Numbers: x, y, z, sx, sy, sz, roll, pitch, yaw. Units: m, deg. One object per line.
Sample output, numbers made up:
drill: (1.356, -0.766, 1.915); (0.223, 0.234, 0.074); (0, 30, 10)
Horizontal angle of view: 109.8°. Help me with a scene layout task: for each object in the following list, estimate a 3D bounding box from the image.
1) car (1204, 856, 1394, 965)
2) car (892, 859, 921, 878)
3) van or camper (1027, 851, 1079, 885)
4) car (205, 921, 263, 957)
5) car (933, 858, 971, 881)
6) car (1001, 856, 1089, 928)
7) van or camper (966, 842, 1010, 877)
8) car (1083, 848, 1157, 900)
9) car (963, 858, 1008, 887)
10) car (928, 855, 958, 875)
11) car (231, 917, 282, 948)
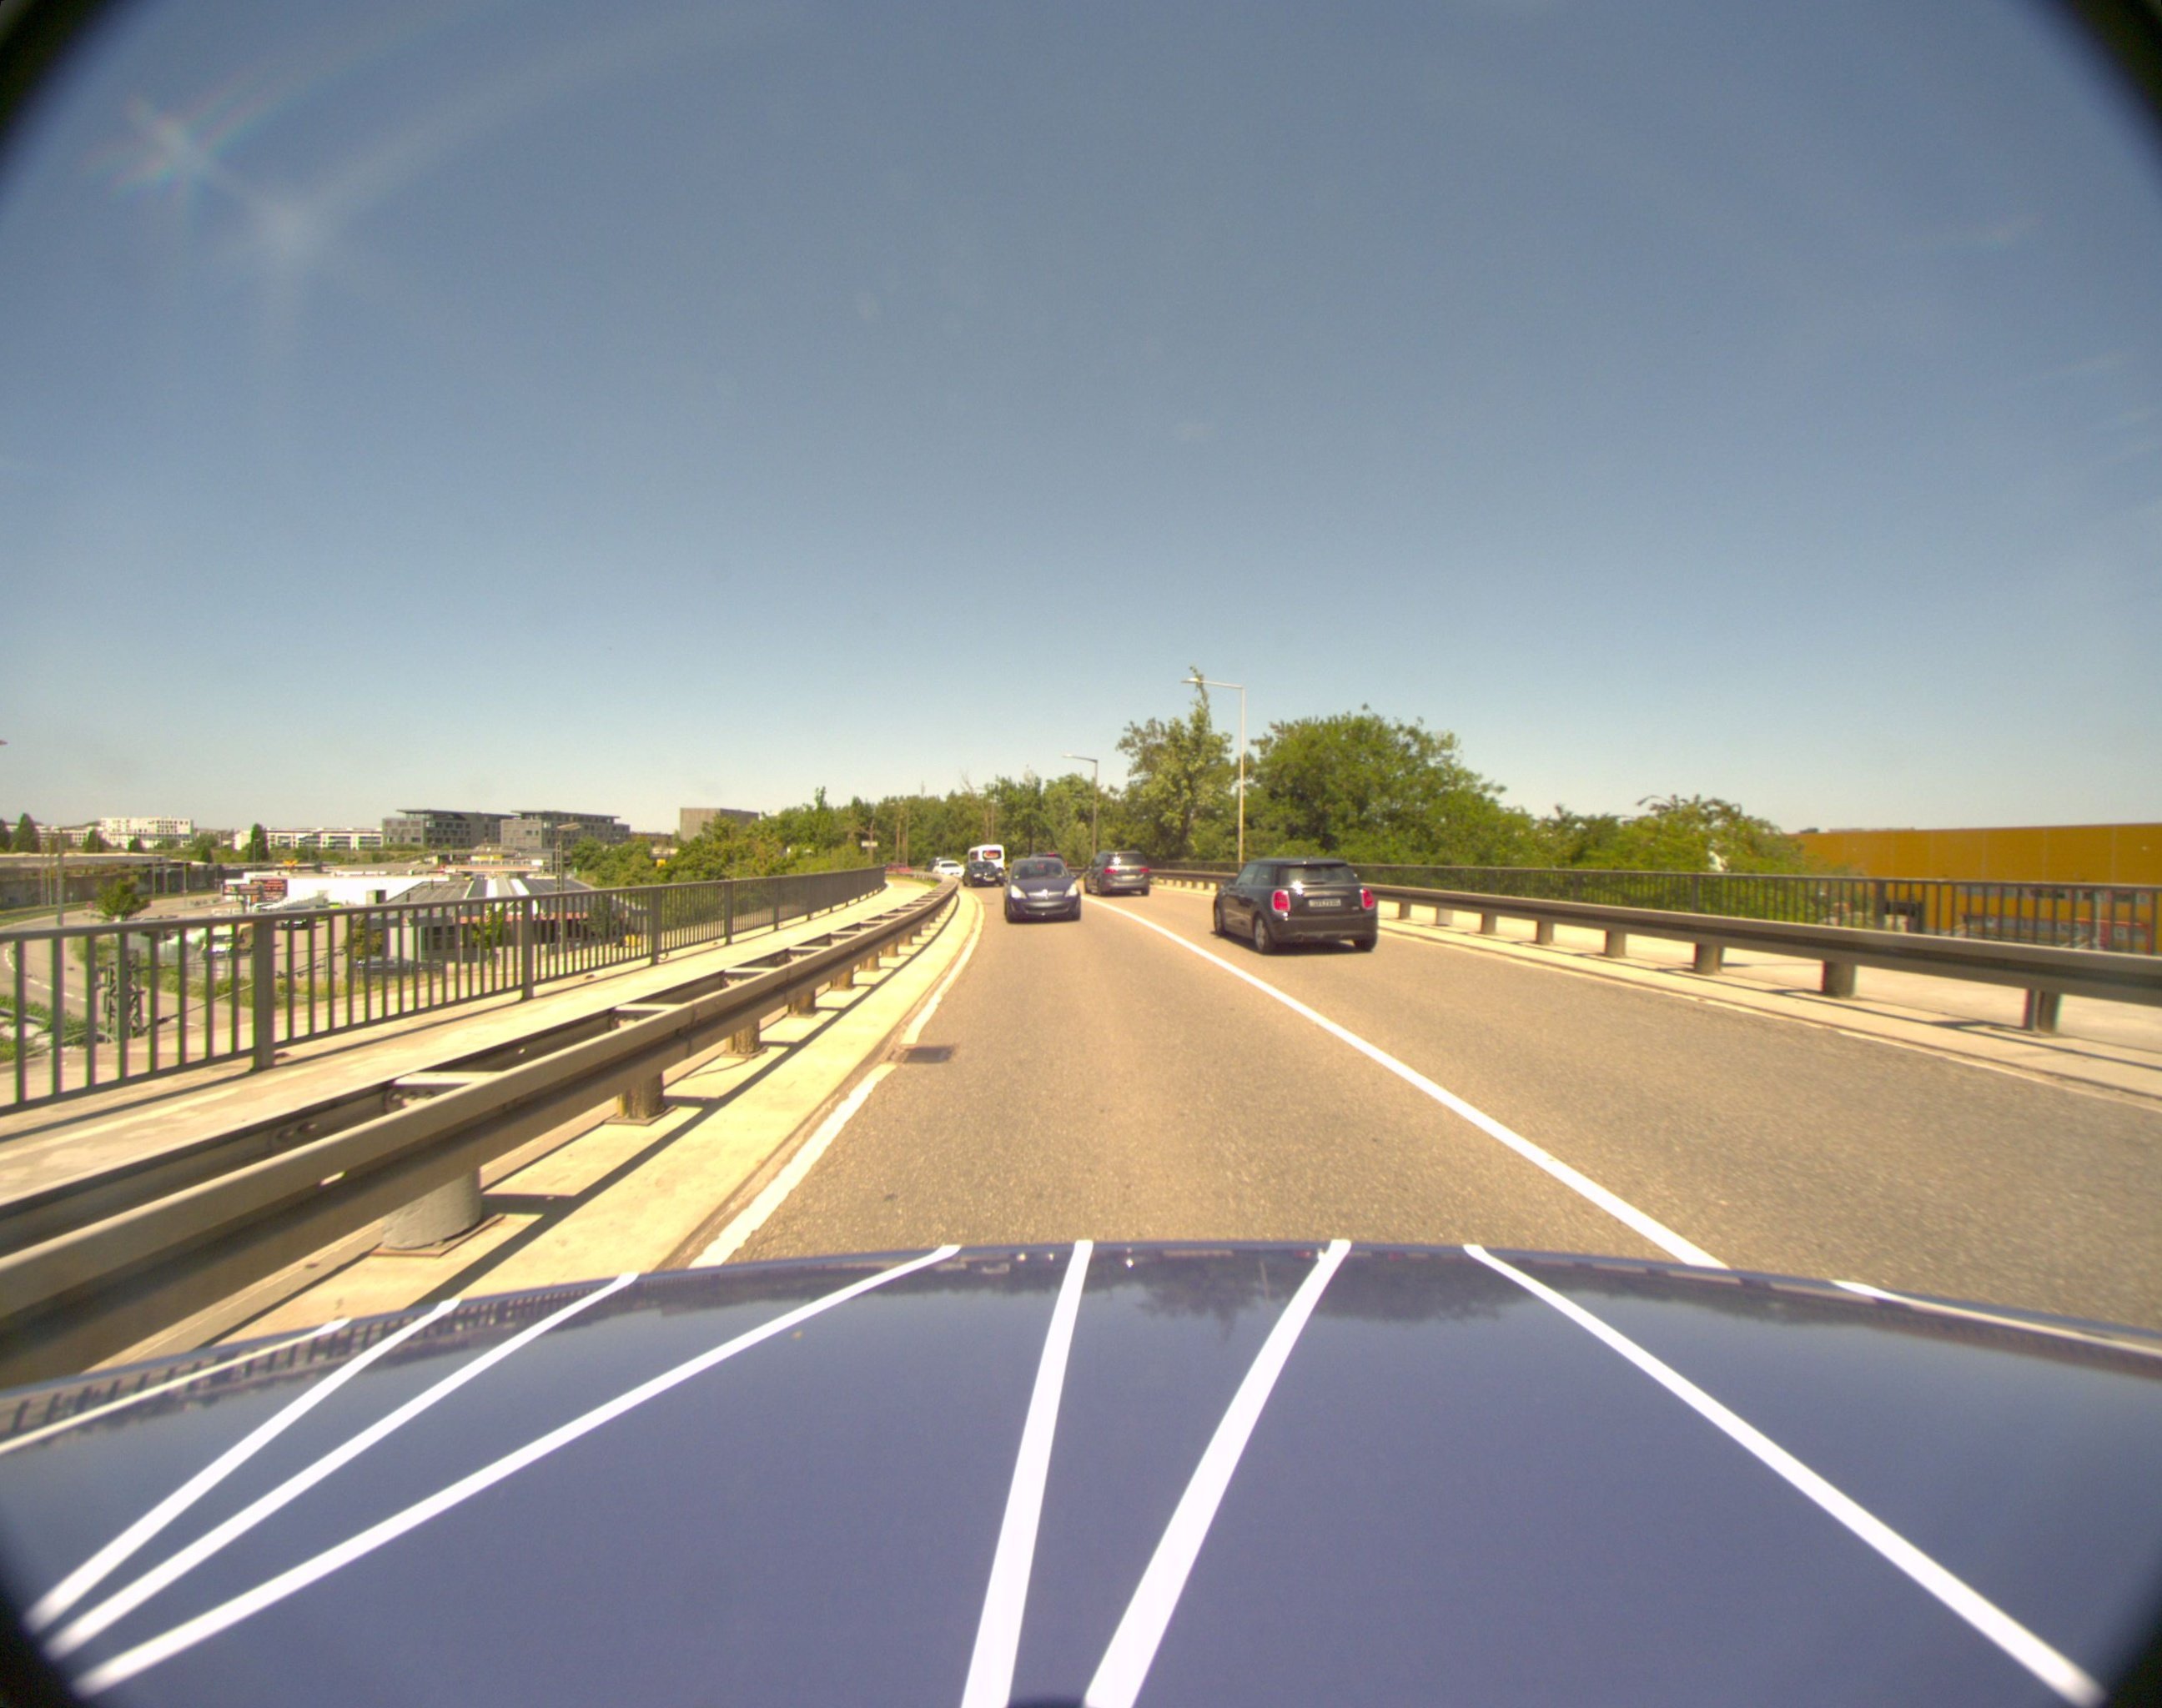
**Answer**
car: (3.327, 0.782, 12.403); (1.794, 1.411, 3.771); (0, 1, -4)
car: (-16.633, 1.364, 72.439); (1.904, 1.645, 4.248); (-2, 2, -23)
van or camper: (-1.630, 0.741, 42.567); (2.001, 1.751, 4.691); (-1, 1, -14)
car: (-71.040, 7.080, 63.833); (2.155, 2.339, 4.917); (-7, 3, -37)
car: (-8.957, 1.050, 52.536); (1.819, 1.420, 3.709); (-2, 0, -21)
car: (-1.000, 0.819, 18.581); (1.700, 1.459, 4.380); (-2, 0, -8)
van or camper: (-7.480, 0.457, 60.664); (2.056, 2.523, 5.873); (-4, 1, -20)
car: (1.338, 0.648, 27.862); (1.902, 1.645, 4.253); (-1, 2, -8)
car: (-5.183, 0.967, 40.822); (1.571, 1.408, 4.116); (-2, 0, -19)
car: (-13.562, 1.046, 74.705); (1.764, 1.844, 4.266); (-2, 1, -25)
car: (-75.194, 7.114, 69.401); (2.155, 2.339, 4.916); (-8, 3, -38)
